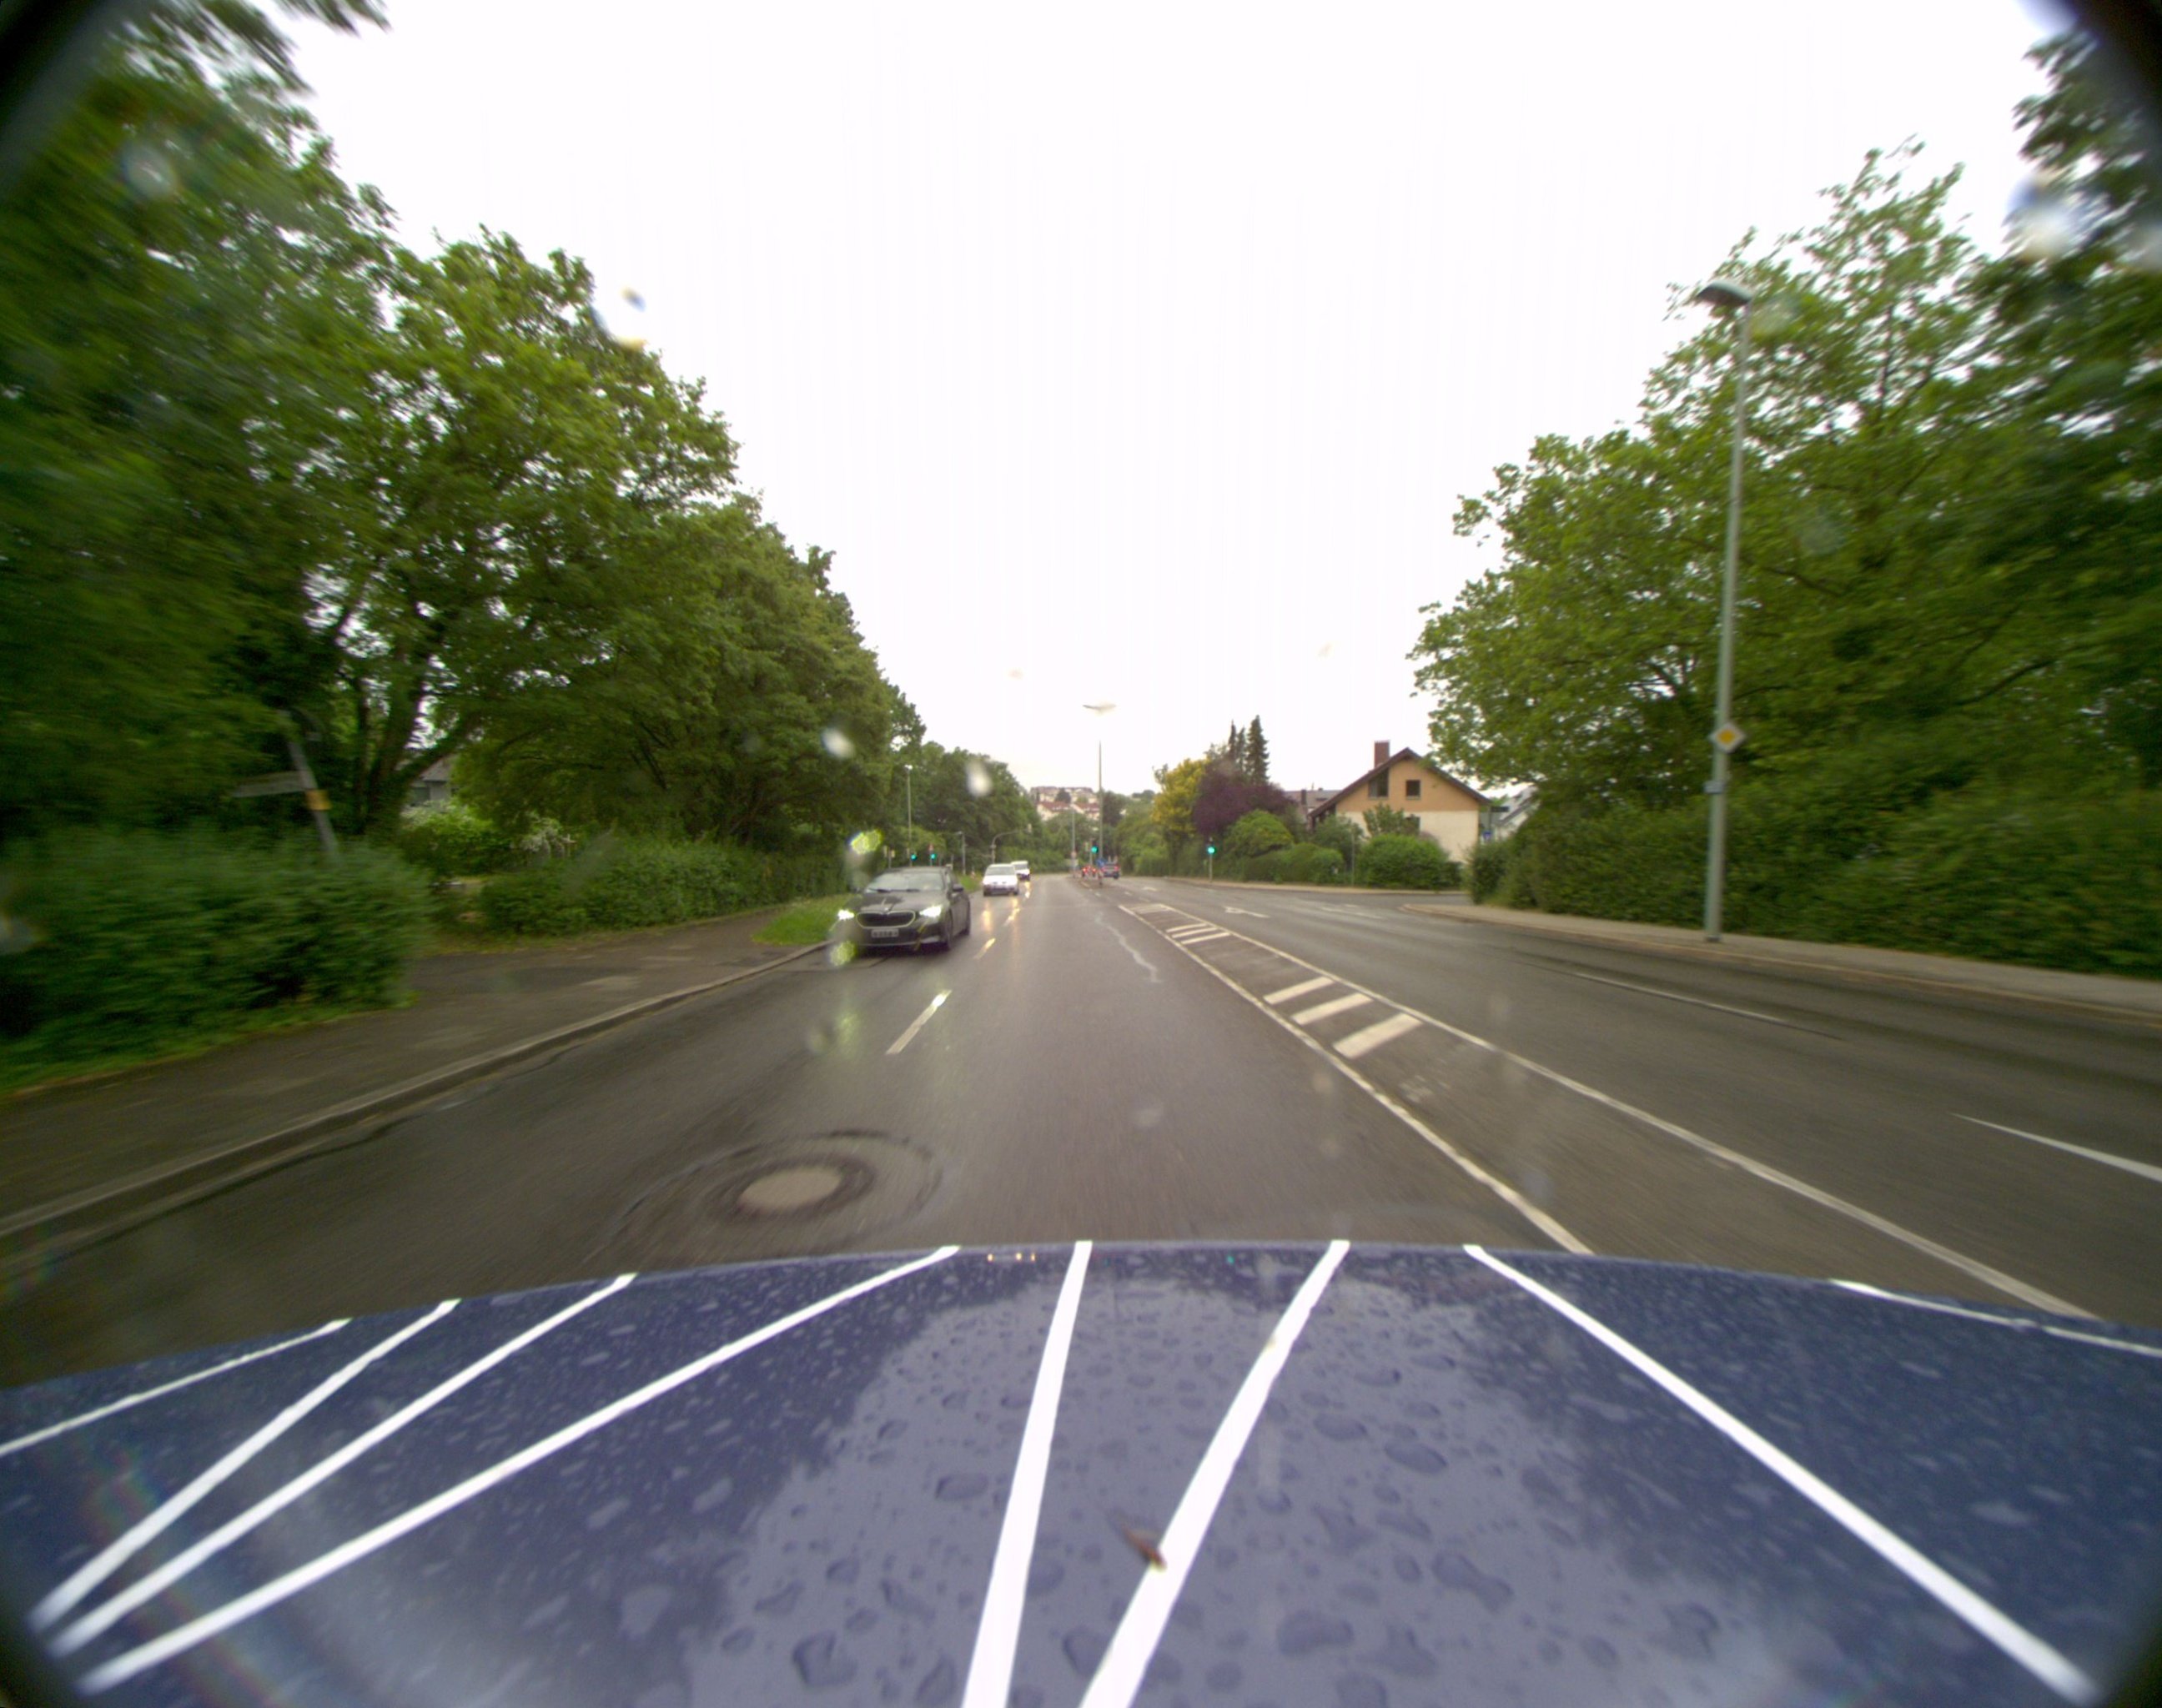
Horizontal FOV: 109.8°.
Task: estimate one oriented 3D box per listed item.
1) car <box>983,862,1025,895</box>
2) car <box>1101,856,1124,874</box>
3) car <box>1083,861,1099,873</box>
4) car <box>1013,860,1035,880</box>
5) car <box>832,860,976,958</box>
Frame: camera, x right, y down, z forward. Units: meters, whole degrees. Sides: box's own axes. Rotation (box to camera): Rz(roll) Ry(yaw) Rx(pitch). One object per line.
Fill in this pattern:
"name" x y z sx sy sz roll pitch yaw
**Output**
"car" -3.828 1.195 38.291 1.814 1.546 4.119 0 0 -1
"car" 2.969 0.996 71.394 1.800 1.593 3.731 0 0 -3
"car" 1.356 1.782 104.663 2.031 1.554 3.876 0 0 -2
"car" -5.090 1.413 68.167 1.815 1.797 4.119 0 0 -2
"car" -3.169 0.916 14.481 1.868 1.546 4.119 0 0 -1
